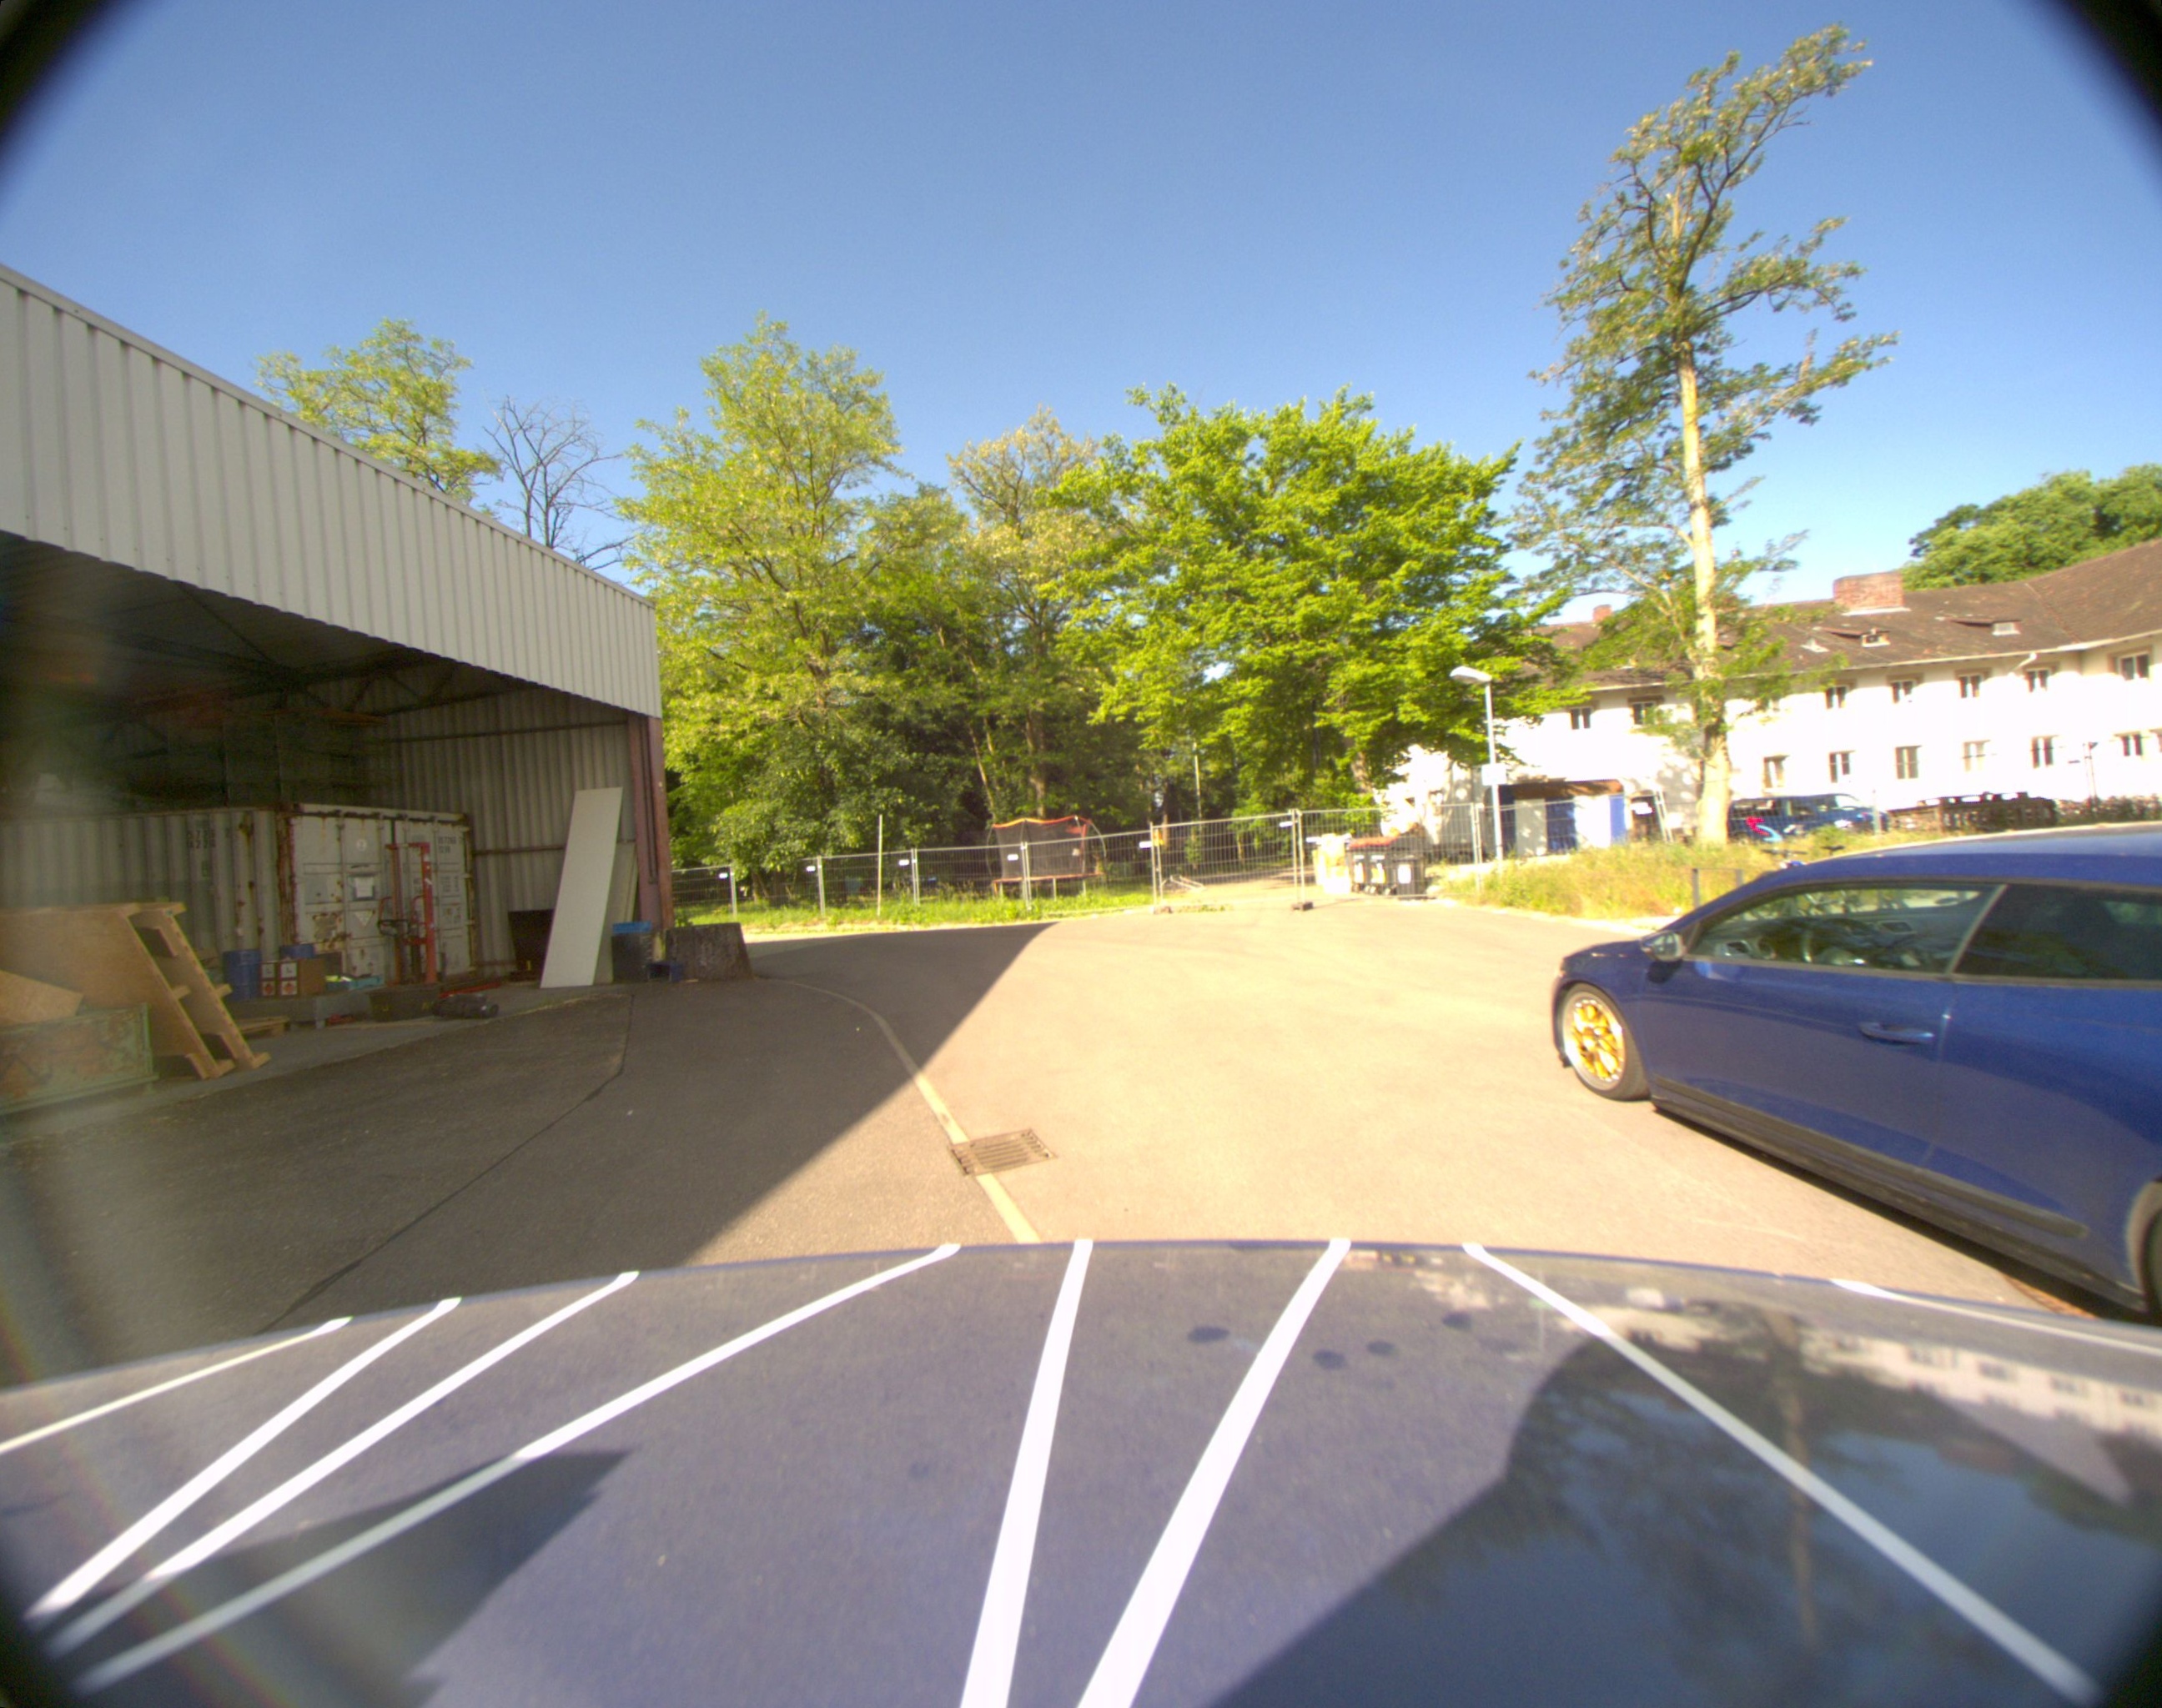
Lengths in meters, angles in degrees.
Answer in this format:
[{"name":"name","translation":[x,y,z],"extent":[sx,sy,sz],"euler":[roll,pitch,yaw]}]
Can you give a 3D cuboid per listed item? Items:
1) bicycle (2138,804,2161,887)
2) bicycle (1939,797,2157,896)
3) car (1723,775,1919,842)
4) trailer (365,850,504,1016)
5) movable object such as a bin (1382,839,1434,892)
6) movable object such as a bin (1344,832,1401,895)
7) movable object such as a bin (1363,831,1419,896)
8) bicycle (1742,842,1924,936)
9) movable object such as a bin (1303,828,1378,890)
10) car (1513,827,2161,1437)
[{"name":"bicycle","translation":[14.536,-0.128,9.316],"extent":[0.525,1.088,1.894],"euler":[-4,0,3]},{"name":"bicycle","translation":[11.990,-0.092,9.526],"extent":[0.524,1.076,1.798],"euler":[-5,0,6]},{"name":"car","translation":[24.859,-1.433,25.845],"extent":[1.998,1.891,4.725],"euler":[-3,0,0]},{"name":"trailer","translation":[-8.749,1.024,10.345],"extent":[0.581,2.055,1.284],"euler":[-6,-1,1]},{"name":"movable object such as a bin","translation":[7.209,0.240,16.802],"extent":[0.818,1.091,0.739],"euler":[-5,0,8]},{"name":"movable object such as a bin","translation":[7.417,0.234,19.402],"extent":[0.806,1.475,1.341],"euler":[-5,0,-2]},{"name":"movable object such as a bin","translation":[7.345,0.224,18.060],"extent":[0.702,1.436,1.248],"euler":[-5,0,-1]},{"name":"bicycle","translation":[9.469,0.401,9.680],"extent":[0.459,1.056,1.805],"euler":[-5,0,0]},{"name":"movable object such as a bin","translation":[7.280,0.129,21.494],"extent":[1.174,1.582,2.295],"euler":[-5,0,-1]},{"name":"car","translation":[3.433,0.652,2.663],"extent":[1.672,1.342,3.954],"euler":[-6,0,4]}]
